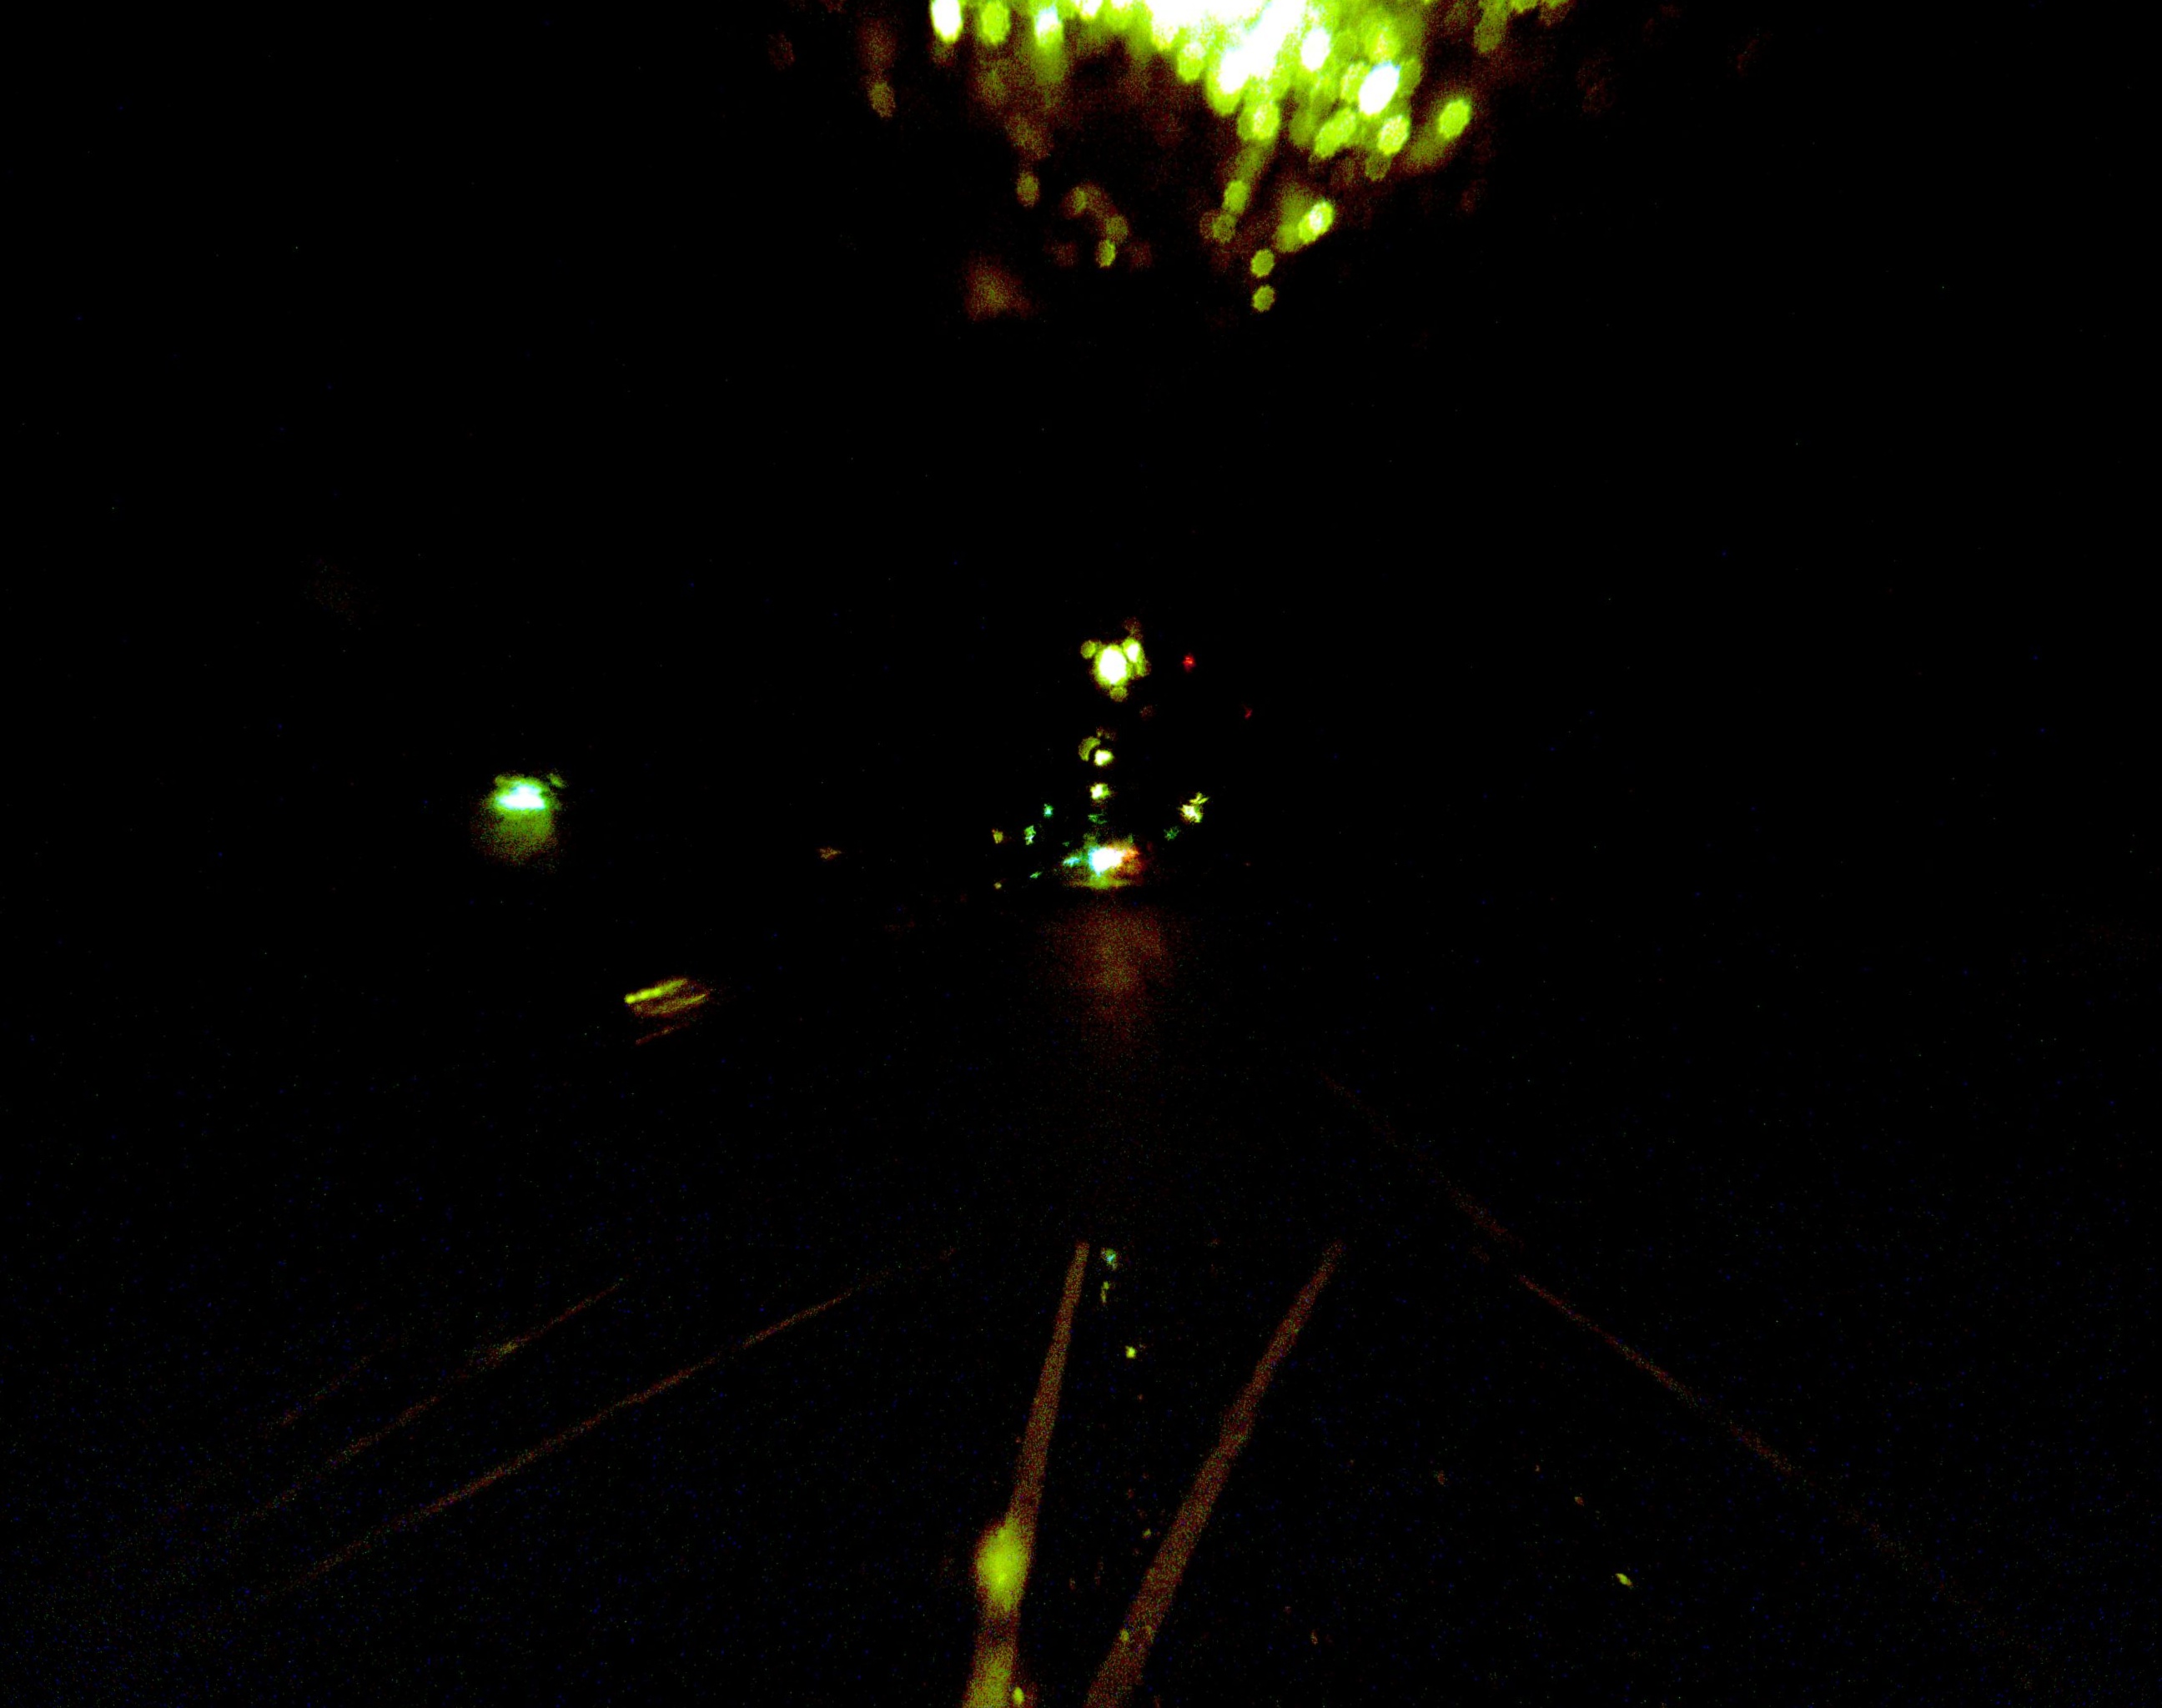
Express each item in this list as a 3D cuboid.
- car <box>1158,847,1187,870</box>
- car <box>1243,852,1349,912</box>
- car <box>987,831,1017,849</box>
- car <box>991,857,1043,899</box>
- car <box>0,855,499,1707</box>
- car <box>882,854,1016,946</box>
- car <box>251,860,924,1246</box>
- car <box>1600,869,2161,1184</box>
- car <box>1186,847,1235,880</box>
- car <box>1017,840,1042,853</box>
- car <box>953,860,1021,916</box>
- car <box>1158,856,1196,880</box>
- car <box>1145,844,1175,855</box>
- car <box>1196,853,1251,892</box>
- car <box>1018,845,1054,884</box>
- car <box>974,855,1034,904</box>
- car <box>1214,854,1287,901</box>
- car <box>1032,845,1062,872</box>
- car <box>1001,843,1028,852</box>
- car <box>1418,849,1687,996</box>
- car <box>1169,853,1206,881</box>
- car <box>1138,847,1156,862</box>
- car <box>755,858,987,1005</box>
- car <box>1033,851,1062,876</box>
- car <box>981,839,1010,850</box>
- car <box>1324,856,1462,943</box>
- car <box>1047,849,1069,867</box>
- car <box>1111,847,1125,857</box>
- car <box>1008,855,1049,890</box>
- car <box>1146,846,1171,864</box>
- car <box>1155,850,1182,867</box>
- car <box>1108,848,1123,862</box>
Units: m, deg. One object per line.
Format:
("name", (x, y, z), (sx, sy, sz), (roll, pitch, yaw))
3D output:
("car", (6.773, 0.301, 56.685), (1.710, 1.531, 4.059), (2, 1, 2))
("car", (6.604, 0.795, 23.896), (1.751, 1.588, 4.388), (3, 1, -4))
("car", (-11.495, -2.043, 110.826), (4.022, 2.603, 1.802), (1, 1, 7))
("car", (-2.517, 0.915, 30.765), (1.800, 1.439, 4.278), (1, 1, -1))
("car", (-2.789, 0.859, 0.195), (1.827, 1.628, 4.487), (1, 1, 0))
("car", (-2.563, 0.817, 15.944), (1.758, 1.539, 4.977), (1, 1, 2))
("car", (-2.631, 0.871, 5.762), (1.804, 1.522, 5.051), (1, 1, 0))
("car", (6.244, 0.954, 5.354), (1.641, 1.448, 4.932), (3, 1, -1))
("car", (6.661, 0.452, 39.422), (1.670, 1.531, 4.389), (1, 1, -1))
("car", (-8.705, -1.234, 128.571), (4.022, 2.157, 1.802), (1, 1, 7))
("car", (-2.508, 0.880, 20.934), (1.460, 1.298, 3.627), (1, 1, -1))
("car", (6.368, 0.911, 50.699), (1.624, 1.410, 4.673), (1, 1, -4))
("car", (12.677, -0.711, 121.413), (4.539, 1.696, 1.852), (1, 1, 15))
("car", (6.366, 0.794, 34.426), (1.670, 1.531, 4.390), (3, 1, 1))
("car", (-2.427, 0.519, 41.878), (1.800, 1.939, 5.852), (1, 1, -2))
("car", (-2.581, 0.806, 26.240), (1.679, 1.479, 4.278), (1, 1, -1))
("car", (6.389, 0.845, 29.160), (1.670, 1.531, 4.389), (3, 1, -1))
("car", (-2.094, 0.250, 47.281), (1.800, 1.539, 3.950), (1, 1, -2))
("car", (-10.722, -1.058, 123.281), (4.022, 1.261, 1.802), (1, 1, 7))
("car", (6.214, 0.788, 10.490), (1.478, 1.610, 3.373), (3, 1, -1))
("car", (6.333, 0.746, 45.502), (1.670, 1.531, 4.391), (1, 1, 2))
("car", (7.030, 0.047, 81.093), (1.627, 1.464, 3.963), (1, 1, 2))
("car", (-2.631, 0.872, 10.680), (1.829, 1.539, 4.353), (1, 1, 3))
("car", (-2.309, 0.632, 52.673), (1.872, 1.570, 4.746), (1, 1, -2))
("car", (-11.608, -1.302, 103.401), (3.663, 1.448, 1.666), (1, 1, 1))
("car", (6.147, 0.817, 15.353), (1.435, 1.452, 3.374), (3, 1, 2))
("car", (-2.009, 0.299, 65.110), (1.800, 1.464, 3.950), (1, 1, -2))
("car", (5.567, -0.282, 116.013), (2.044, 1.539, 4.682), (-1, 1, 2))
("car", (-2.431, 0.822, 36.205), (1.800, 1.483, 4.127), (1, 1, -2))
("car", (6.810, 0.039, 67.230), (1.799, 1.464, 4.396), (1, 1, 1))
("car", (7.065, 0.347, 61.687), (1.843, 1.261, 4.638), (1, 1, 3))
("car", (4.222, 0.107, 94.011), (1.710, 1.531, 4.370), (1, 1, 2))
